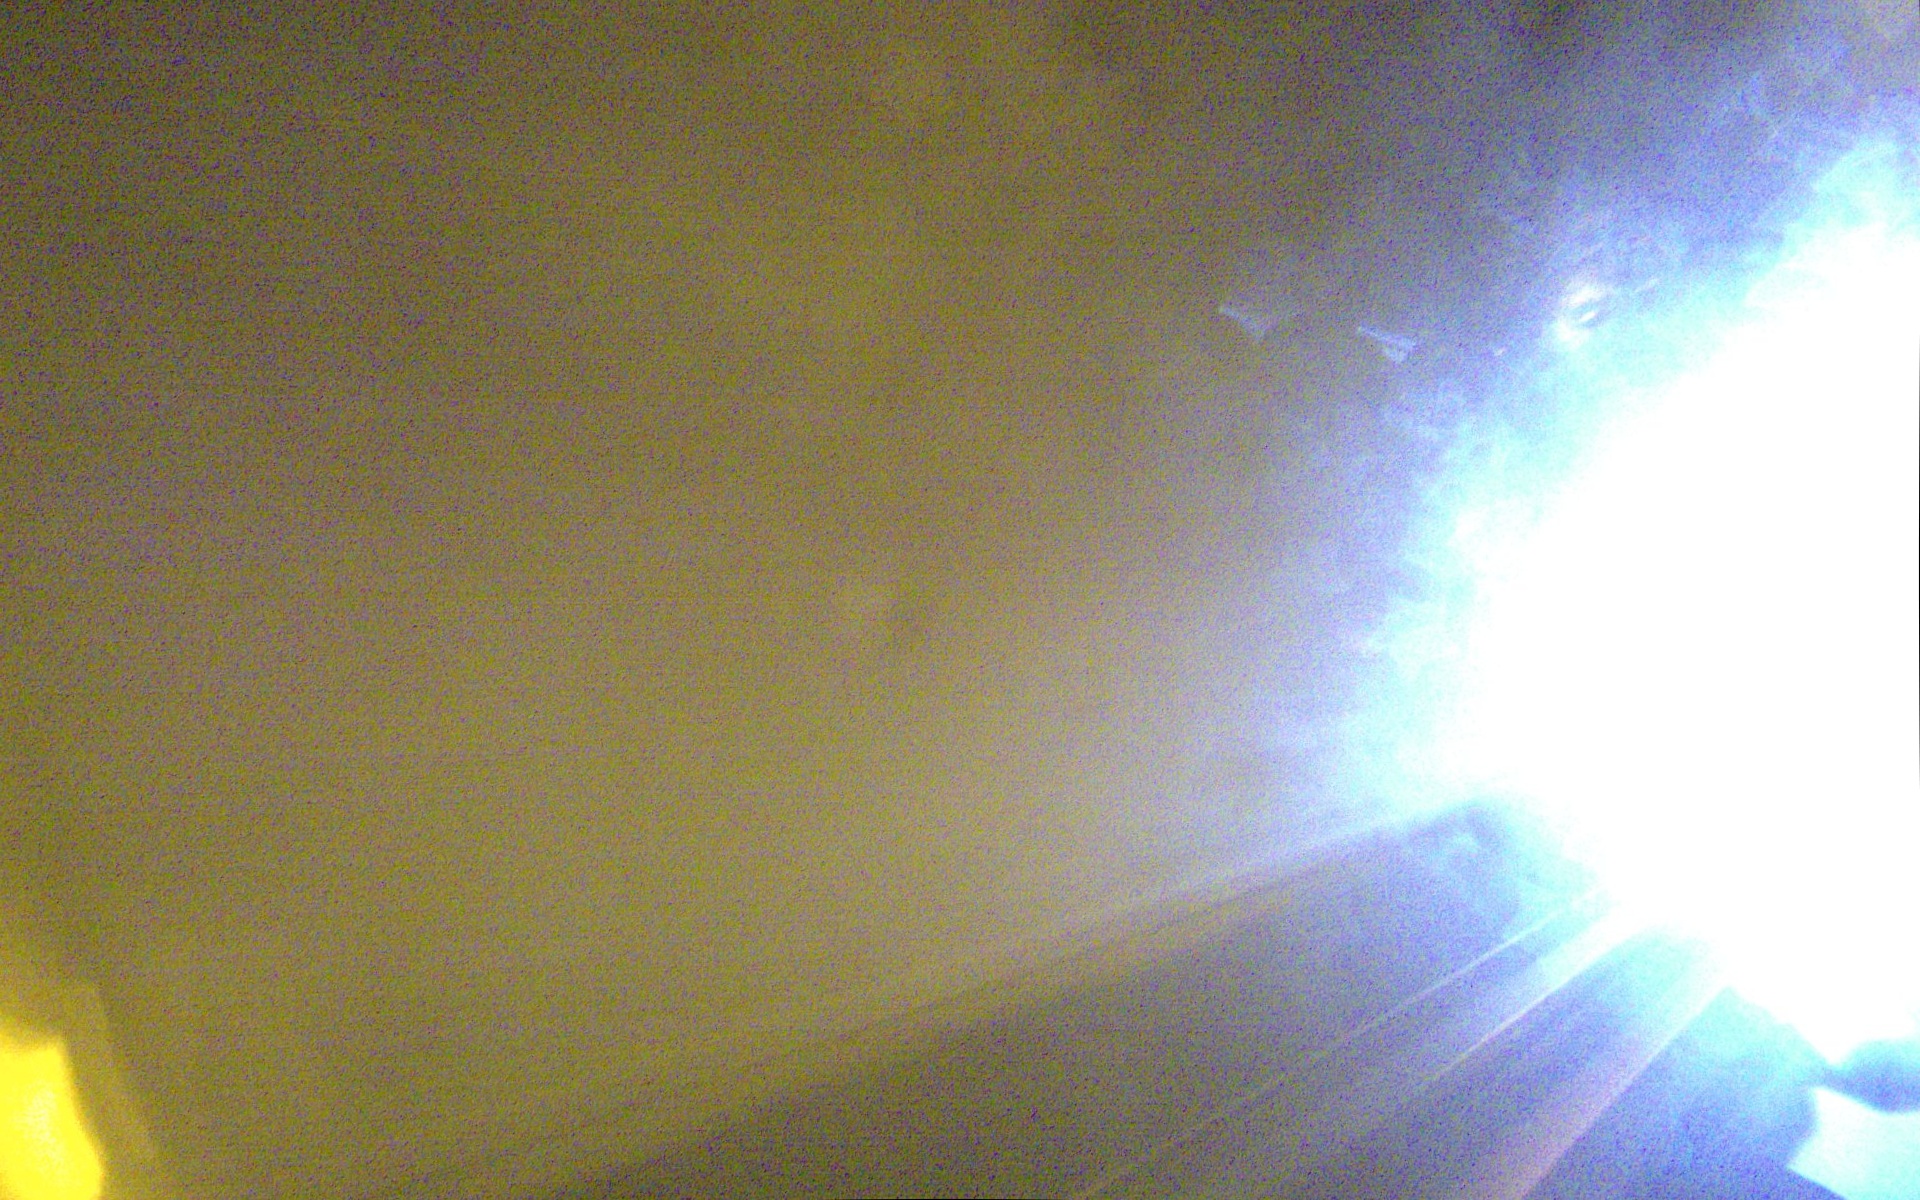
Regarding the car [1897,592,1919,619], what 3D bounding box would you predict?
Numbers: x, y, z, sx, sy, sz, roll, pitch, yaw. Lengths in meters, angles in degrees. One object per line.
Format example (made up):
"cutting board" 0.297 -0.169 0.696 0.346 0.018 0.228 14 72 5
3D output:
"car" 66.771 0.373 70.456 1.698 1.794 3.951 1 1 34
